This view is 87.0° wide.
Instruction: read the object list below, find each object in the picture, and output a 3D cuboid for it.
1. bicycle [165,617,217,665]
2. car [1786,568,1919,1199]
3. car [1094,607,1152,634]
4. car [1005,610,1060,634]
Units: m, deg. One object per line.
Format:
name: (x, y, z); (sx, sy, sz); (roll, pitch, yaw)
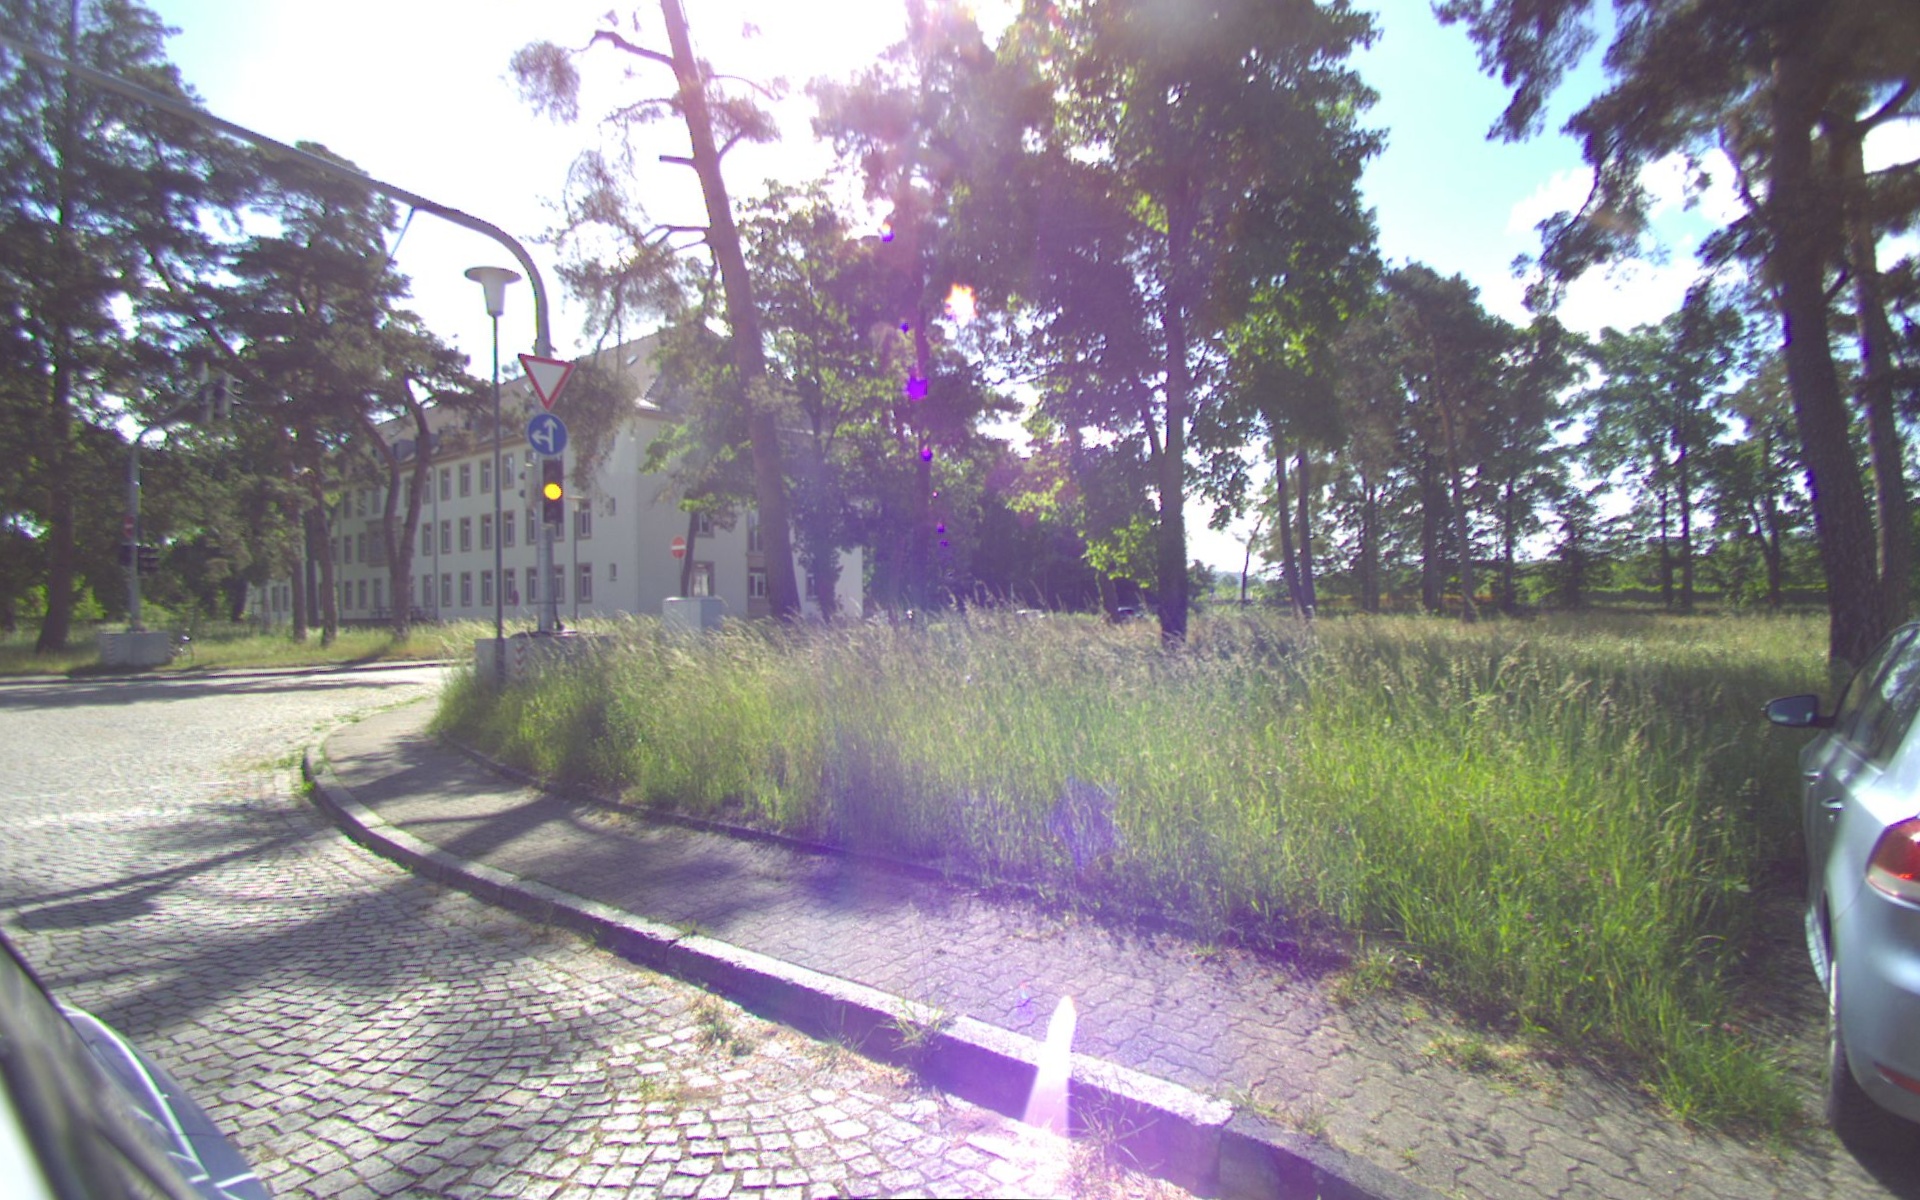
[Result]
bicycle: (-21.872, 1.165, 28.767); (2.112, 1.293, 0.613); (-2, 2, 39)
car: (3.937, 0.621, 3.175); (1.946, 1.494, 3.988); (-2, 0, 38)
car: (10.548, 1.329, 65.409); (1.840, 1.642, 4.003); (-1, -2, 42)
car: (5.106, 1.507, 70.733); (1.719, 1.593, 4.052); (-1, -1, 41)
